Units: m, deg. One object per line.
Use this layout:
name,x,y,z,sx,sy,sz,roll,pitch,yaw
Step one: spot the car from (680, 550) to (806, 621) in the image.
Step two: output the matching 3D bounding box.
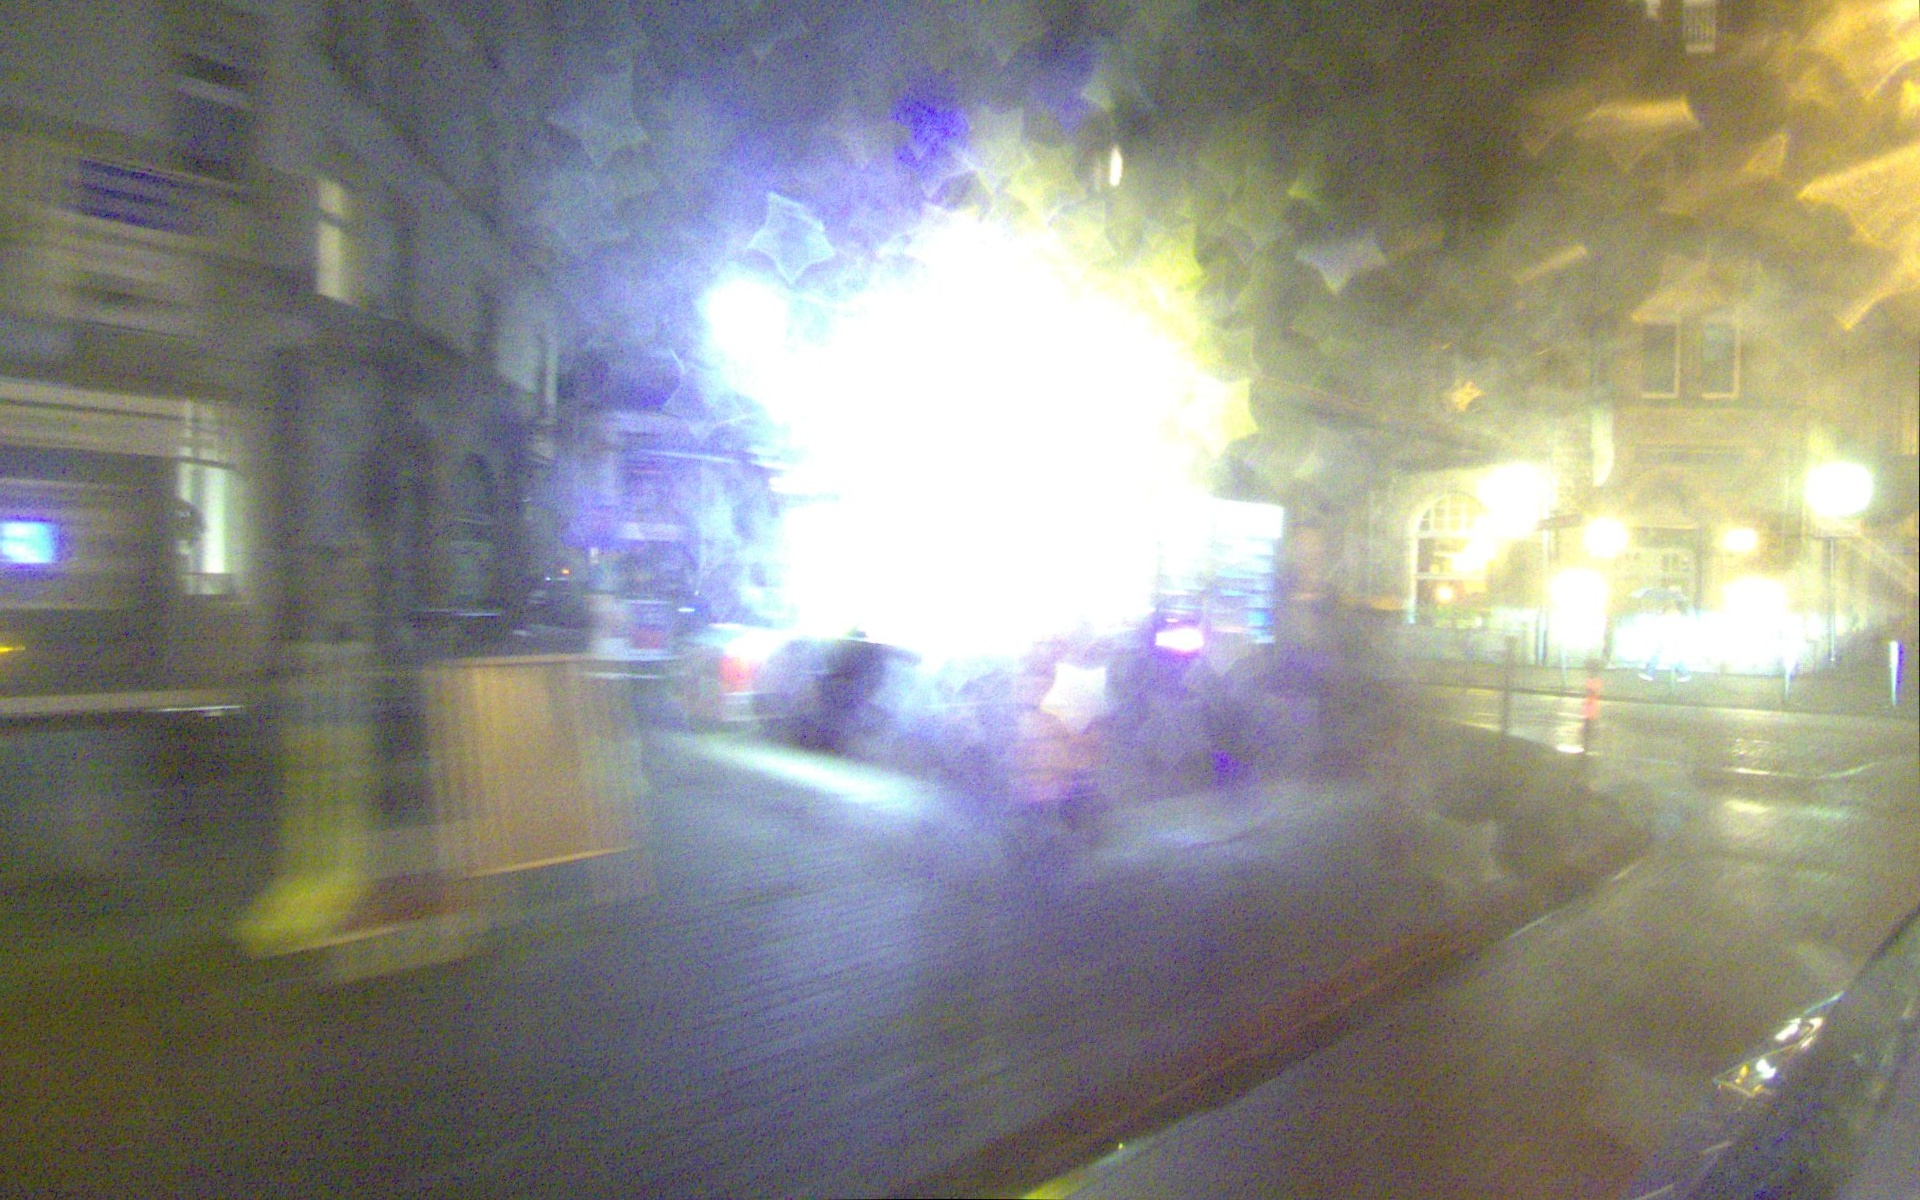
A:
car,-6.994,-0.479,32.305,1.967,2.074,4.689,1,1,-40

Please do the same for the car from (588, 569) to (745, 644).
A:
car,-7.761,0.106,26.505,1.969,1.765,4.682,0,1,-44

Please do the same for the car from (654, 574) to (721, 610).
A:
car,-11.909,-0.353,44.156,1.581,1.476,3.412,1,1,-39

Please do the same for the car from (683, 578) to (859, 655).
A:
car,-4.342,0.307,22.794,1.742,1.521,4.410,0,1,-44

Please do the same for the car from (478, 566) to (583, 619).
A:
car,-15.143,-0.304,35.566,1.968,1.765,4.685,0,1,-42

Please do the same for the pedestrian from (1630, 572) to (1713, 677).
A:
pedestrian,12.905,0.427,18.354,1.063,1.810,0.865,2,2,-38

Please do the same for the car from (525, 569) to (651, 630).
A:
car,-11.726,-0.068,31.724,1.969,1.765,4.682,0,1,-44
